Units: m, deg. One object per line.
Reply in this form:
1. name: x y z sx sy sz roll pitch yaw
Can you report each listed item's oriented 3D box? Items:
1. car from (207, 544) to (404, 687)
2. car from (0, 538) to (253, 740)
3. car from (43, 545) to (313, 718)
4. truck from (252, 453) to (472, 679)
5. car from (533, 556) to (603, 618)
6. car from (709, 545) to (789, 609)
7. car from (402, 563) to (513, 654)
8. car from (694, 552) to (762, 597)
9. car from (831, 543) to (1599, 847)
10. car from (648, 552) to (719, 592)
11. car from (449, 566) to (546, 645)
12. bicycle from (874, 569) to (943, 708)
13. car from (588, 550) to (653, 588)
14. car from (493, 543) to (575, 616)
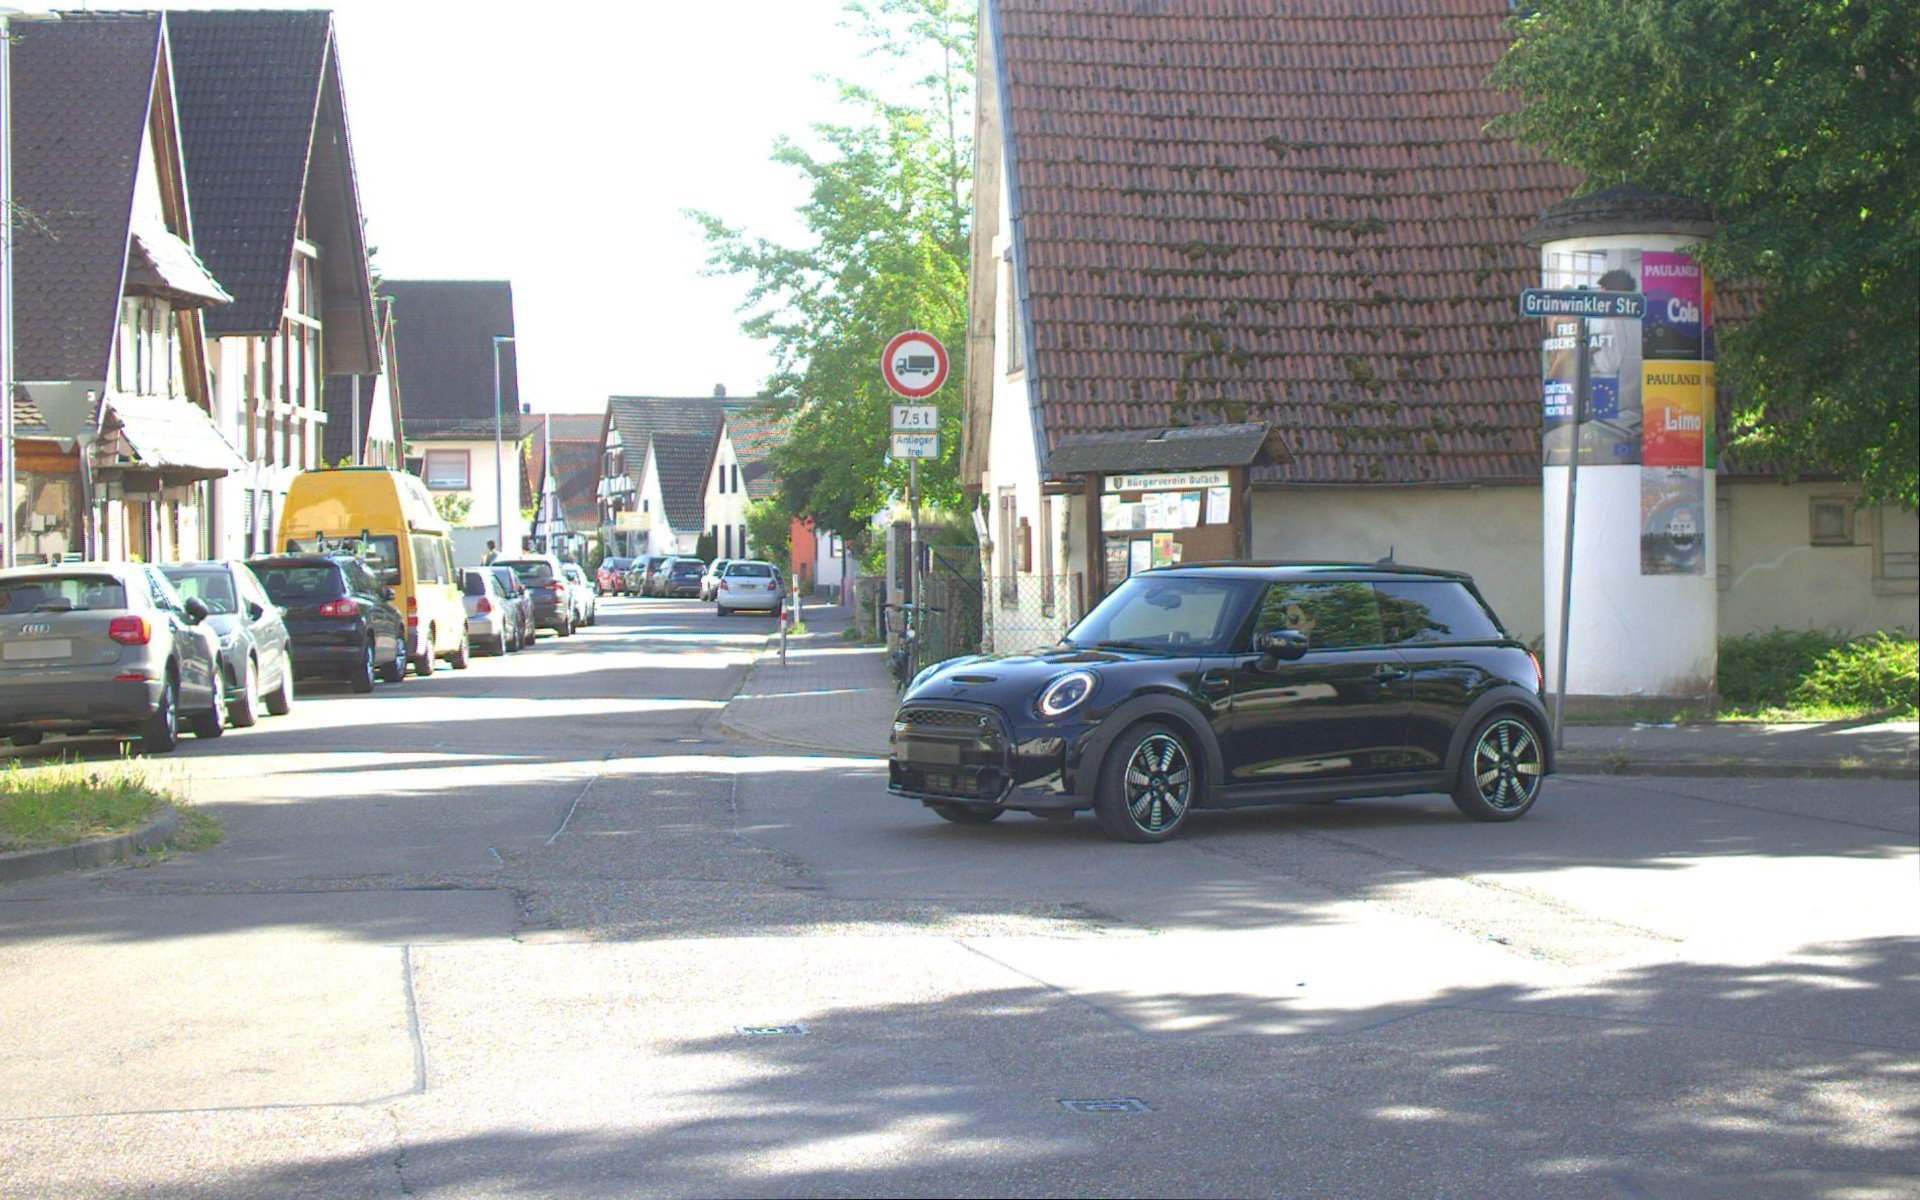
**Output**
1. car: -7.782 0.162 41.190 1.806 1.616 3.881 0 0 -3
2. car: -6.993 0.284 27.885 1.867 1.500 4.108 -1 0 -3
3. car: -7.259 0.264 32.270 1.806 1.500 4.108 0 0 -3
4. truck: -8.032 -0.449 46.735 2.268 2.859 5.783 0 0 -3
5. car: -9.230 -0.320 81.004 1.588 1.438 3.615 0 1 -6
6. car: -5.779 -0.634 93.845 1.973 1.708 3.996 0 1 -6
7. car: -8.133 0.111 55.806 1.645 1.428 3.615 0 1 -6
8. car: -8.383 -0.929 123.952 1.972 1.577 3.996 0 1 -10
9. car: 1.430 0.435 18.605 3.987 1.472 1.665 -1 1 -35
10. car: -10.986 -1.114 136.291 1.972 1.577 3.996 0 1 -17
11. car: -8.103 0.072 60.457 1.588 1.331 3.615 0 1 -6
12. bicycle: -0.442 0.319 30.310 0.433 1.172 1.828 -1 1 4
13. car: -14.458 -1.324 146.090 1.972 1.577 3.996 0 1 -17
14. car: -8.543 -0.424 69.093 1.588 1.438 3.615 0 1 -6
